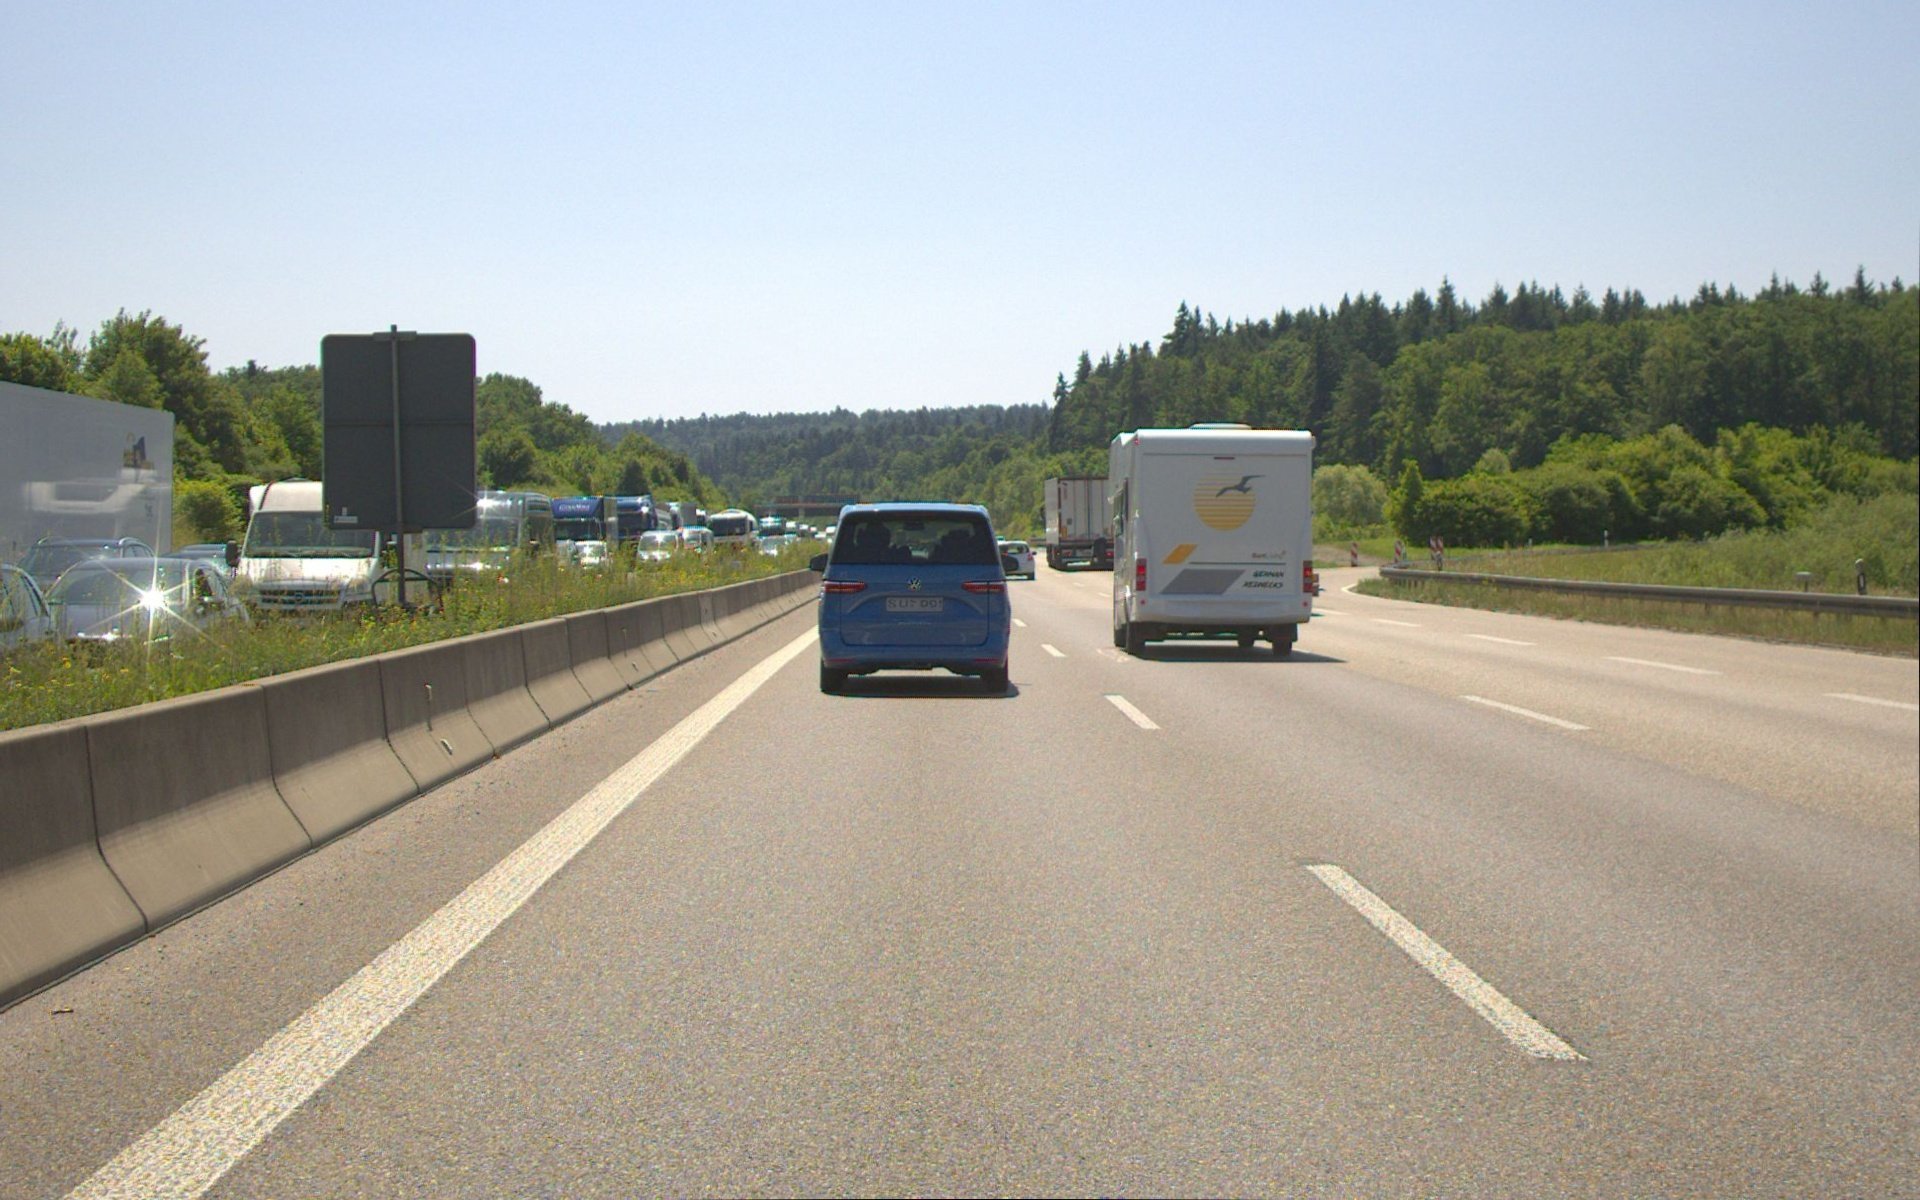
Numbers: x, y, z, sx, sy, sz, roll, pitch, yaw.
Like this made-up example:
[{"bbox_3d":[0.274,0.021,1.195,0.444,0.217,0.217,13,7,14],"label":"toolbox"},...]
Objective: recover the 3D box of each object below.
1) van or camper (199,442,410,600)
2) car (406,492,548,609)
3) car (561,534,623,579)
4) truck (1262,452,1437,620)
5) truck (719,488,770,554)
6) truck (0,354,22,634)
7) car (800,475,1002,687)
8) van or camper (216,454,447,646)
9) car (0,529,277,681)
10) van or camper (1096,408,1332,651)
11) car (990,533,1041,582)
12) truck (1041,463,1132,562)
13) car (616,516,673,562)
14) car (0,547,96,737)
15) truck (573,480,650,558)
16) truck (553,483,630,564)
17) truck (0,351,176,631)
[{"bbox_3d":[-12.845,-1.525,67.995,2.545,2.927,7.827,0,1,1],"label":"van or camper"},{"bbox_3d":[-8.500,-0.887,60.760,1.993,2.007,4.000,0,1,-1],"label":"car"},{"bbox_3d":[-13.253,-1.569,123.939,1.754,1.544,4.189,2,1,0],"label":"car"},{"bbox_3d":[8.734,-1.520,78.058,2.928,3.562,8.527,-1,2,0],"label":"truck"},{"bbox_3d":[-13.086,-4.772,208.810,2.618,3.876,7.403,-1,1,0],"label":"truck"},{"bbox_3d":[-16.061,-1.622,51.307,2.520,4.311,5.666,1,1,0],"label":"truck"},{"bbox_3d":[-0.595,-0.222,35.141,1.909,2.007,4.000,1,1,-1],"label":"car"},{"bbox_3d":[-8.639,-0.695,47.809,2.193,2.497,6.059,0,1,-1],"label":"van or camper"},{"bbox_3d":[-8.176,0.010,34.355,1.819,1.403,4.883,0,1,-1],"label":"car"},{"bbox_3d":[3.388,-1.015,47.571,2.603,3.068,7.183,1,2,-1],"label":"van or camper"},{"bbox_3d":[2.070,-1.601,129.269,1.818,1.788,3.894,1,1,-1],"label":"car"},{"bbox_3d":[5.448,-3.775,149.854,3.487,4.156,8.642,1,1,-1],"label":"truck"},{"bbox_3d":[-13.541,-2.605,147.771,2.023,1.951,5.095,0,1,-1],"label":"car"},{"bbox_3d":[-8.052,0.302,26.194,1.901,1.403,4.431,0,1,-1],"label":"car"},{"bbox_3d":[-18.635,-4.303,184.120,3.490,4.023,6.644,1,1,-1],"label":"truck"},{"bbox_3d":[-17.127,-3.531,160.241,2.545,3.662,9.938,0,1,0],"label":"truck"},{"bbox_3d":[-16.102,-1.776,59.060,2.520,4.311,12.423,1,1,-1],"label":"truck"}]
